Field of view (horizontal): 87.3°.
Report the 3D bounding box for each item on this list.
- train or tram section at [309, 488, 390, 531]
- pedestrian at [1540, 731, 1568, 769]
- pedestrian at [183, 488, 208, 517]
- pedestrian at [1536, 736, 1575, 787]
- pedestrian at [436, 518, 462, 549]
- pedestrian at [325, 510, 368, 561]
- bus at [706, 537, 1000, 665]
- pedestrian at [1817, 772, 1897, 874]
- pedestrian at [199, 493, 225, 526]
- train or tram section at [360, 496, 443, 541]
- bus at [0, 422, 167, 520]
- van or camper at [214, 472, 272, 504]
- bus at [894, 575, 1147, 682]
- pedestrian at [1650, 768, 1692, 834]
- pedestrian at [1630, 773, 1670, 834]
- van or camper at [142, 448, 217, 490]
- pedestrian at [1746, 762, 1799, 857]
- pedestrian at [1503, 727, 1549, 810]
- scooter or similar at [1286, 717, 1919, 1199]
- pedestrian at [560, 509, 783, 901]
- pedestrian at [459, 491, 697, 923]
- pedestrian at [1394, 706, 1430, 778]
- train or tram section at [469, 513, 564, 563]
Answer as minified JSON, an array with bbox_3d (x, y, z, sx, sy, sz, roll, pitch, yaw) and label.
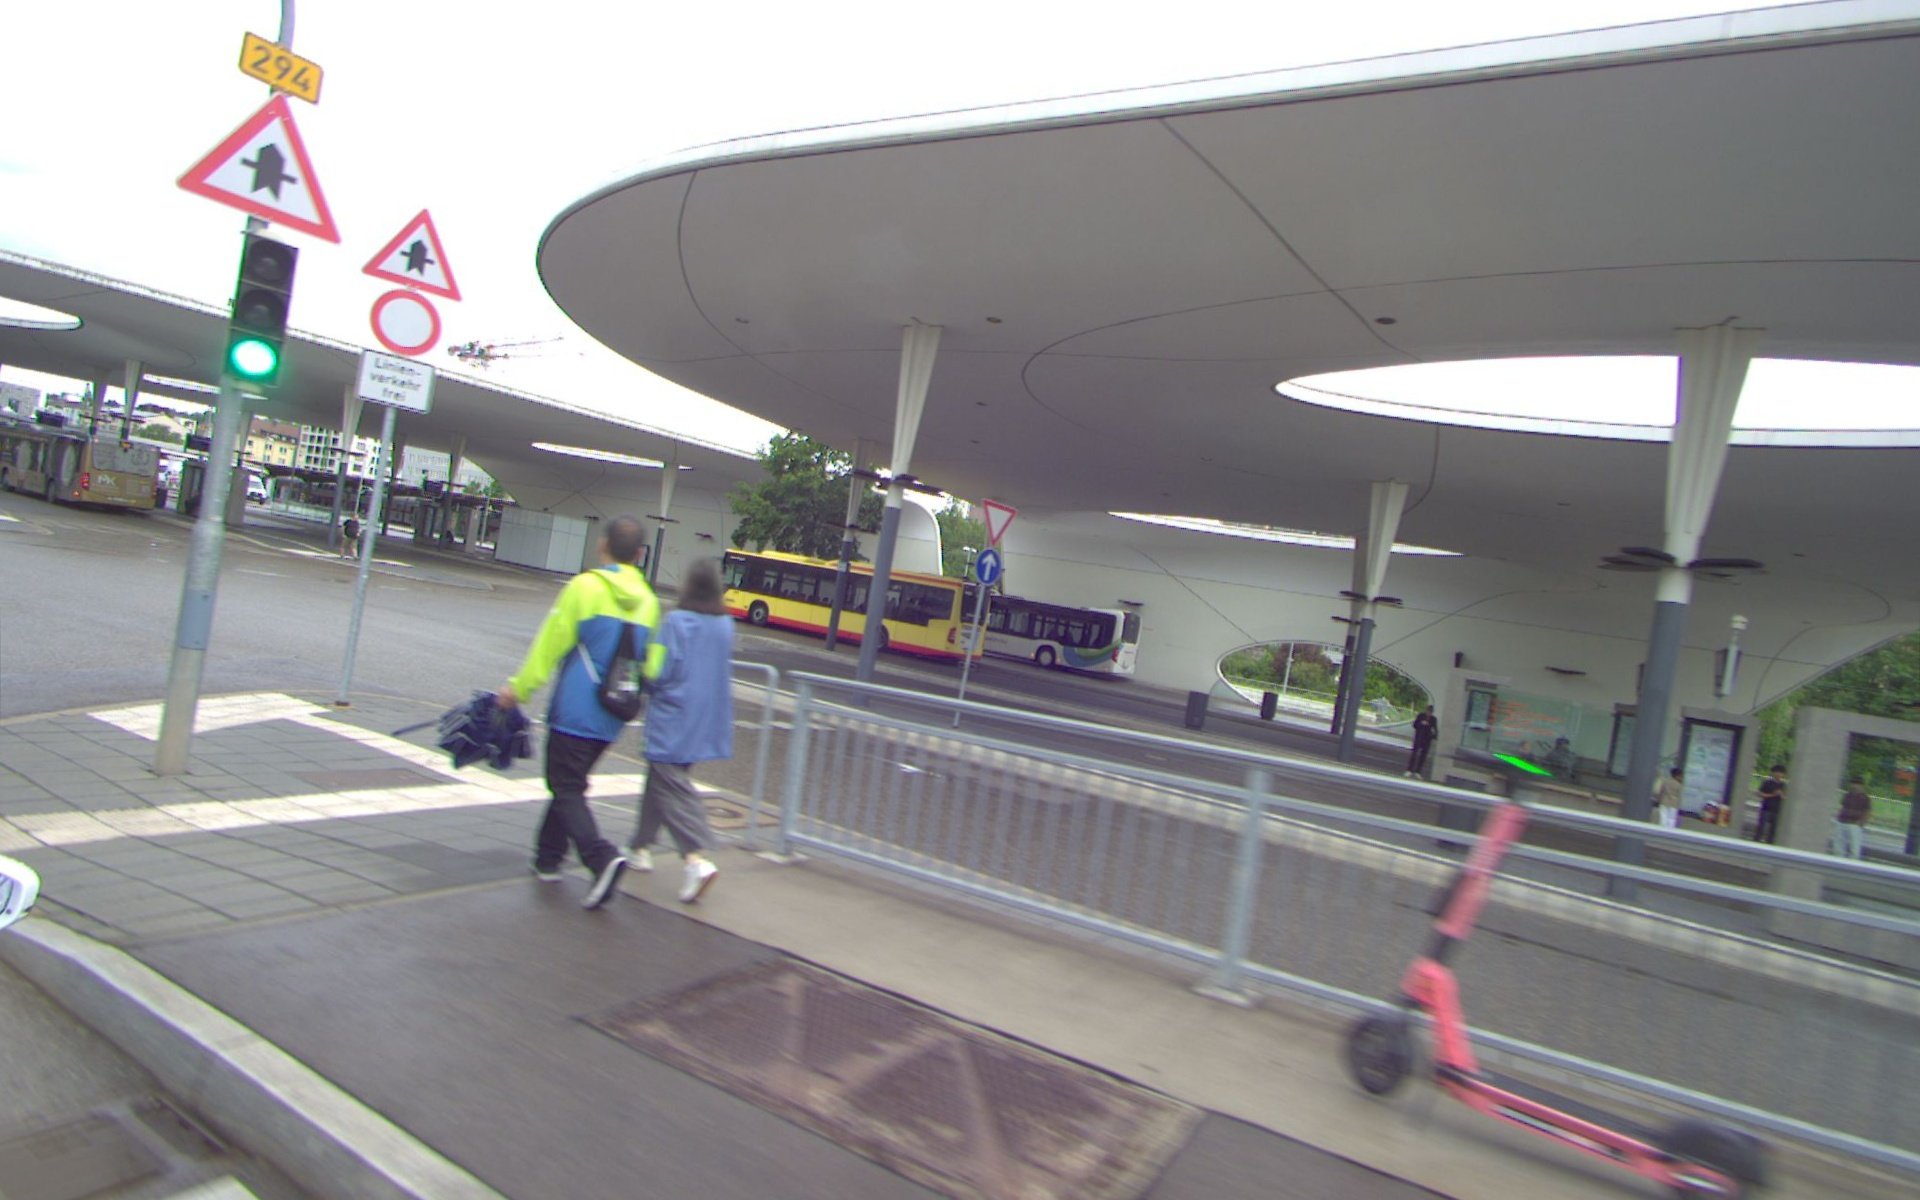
[{"bbox_3d":[-78.090,-11.626,128.646,12.115,3.698,3.142,9,-3,31],"label":"train or tram section"},{"bbox_3d":[22.742,5.746,38.519,0.789,1.338,0.711,5,-5,34],"label":"pedestrian"},{"bbox_3d":[-36.412,-4.646,47.899,0.790,1.241,0.626,8,2,-41],"label":"pedestrian"},{"bbox_3d":[17.199,4.665,29.037,0.790,1.338,0.710,5,-5,39],"label":"pedestrian"},{"bbox_3d":[-29.819,-3.892,58.703,0.892,1.604,0.797,8,-1,25],"label":"pedestrian"},{"bbox_3d":[-22.768,-2.390,37.337,1.002,1.706,0.719,8,2,6],"label":"pedestrian"},{"bbox_3d":[-4.494,-0.056,39.829,11.933,3.296,2.794,9,0,30],"label":"bus"},{"bbox_3d":[16.524,4.097,18.539,0.629,1.675,0.641,8,1,-9],"label":"pedestrian"},{"bbox_3d":[-34.765,-4.211,46.756,0.790,1.395,0.626,7,2,-41],"label":"pedestrian"},{"bbox_3d":[-68.126,-9.988,122.553,11.419,3.698,3.142,9,-3,31],"label":"train or tram section"},{"bbox_3d":[-39.125,-5.787,44.105,11.886,3.082,2.725,9,1,32],"label":"bus"},{"bbox_3d":[-63.541,-9.929,89.110,5.388,2.125,2.000,7,-3,31],"label":"van or camper"},{"bbox_3d":[2.574,1.233,47.243,11.770,3.298,2.468,8,1,32],"label":"bus"},{"bbox_3d":[13.729,3.880,19.423,0.390,1.159,0.362,8,1,-17],"label":"pedestrian"},{"bbox_3d":[13.591,4.009,19.829,0.387,1.094,0.350,8,1,-18],"label":"pedestrian"},{"bbox_3d":[-69.941,-11.745,90.222,2.083,2.585,4.623,7,-4,30],"label":"van or camper"},{"bbox_3d":[15.481,3.978,19.189,0.548,1.675,0.569,9,2,37],"label":"pedestrian"},{"bbox_3d":[11.928,3.541,21.213,0.666,1.606,0.590,6,-4,27],"label":"pedestrian"},{"bbox_3d":[2.044,1.124,3.025,1.828,1.235,0.464,8,0,31],"label":"scooter or similar"},{"bbox_3d":[-1.345,0.471,4.751,0.571,1.688,0.591,4,-4,31],"label":"pedestrian"},{"bbox_3d":[-1.632,0.429,4.325,0.571,1.689,0.523,6,-2,31],"label":"pedestrian"},{"bbox_3d":[10.135,3.181,22.560,0.512,1.520,0.381,9,1,30],"label":"pedestrian"},{"bbox_3d":[-48.843,-6.843,110.674,11.420,3.716,3.142,9,-3,31],"label":"train or tram section"}]
